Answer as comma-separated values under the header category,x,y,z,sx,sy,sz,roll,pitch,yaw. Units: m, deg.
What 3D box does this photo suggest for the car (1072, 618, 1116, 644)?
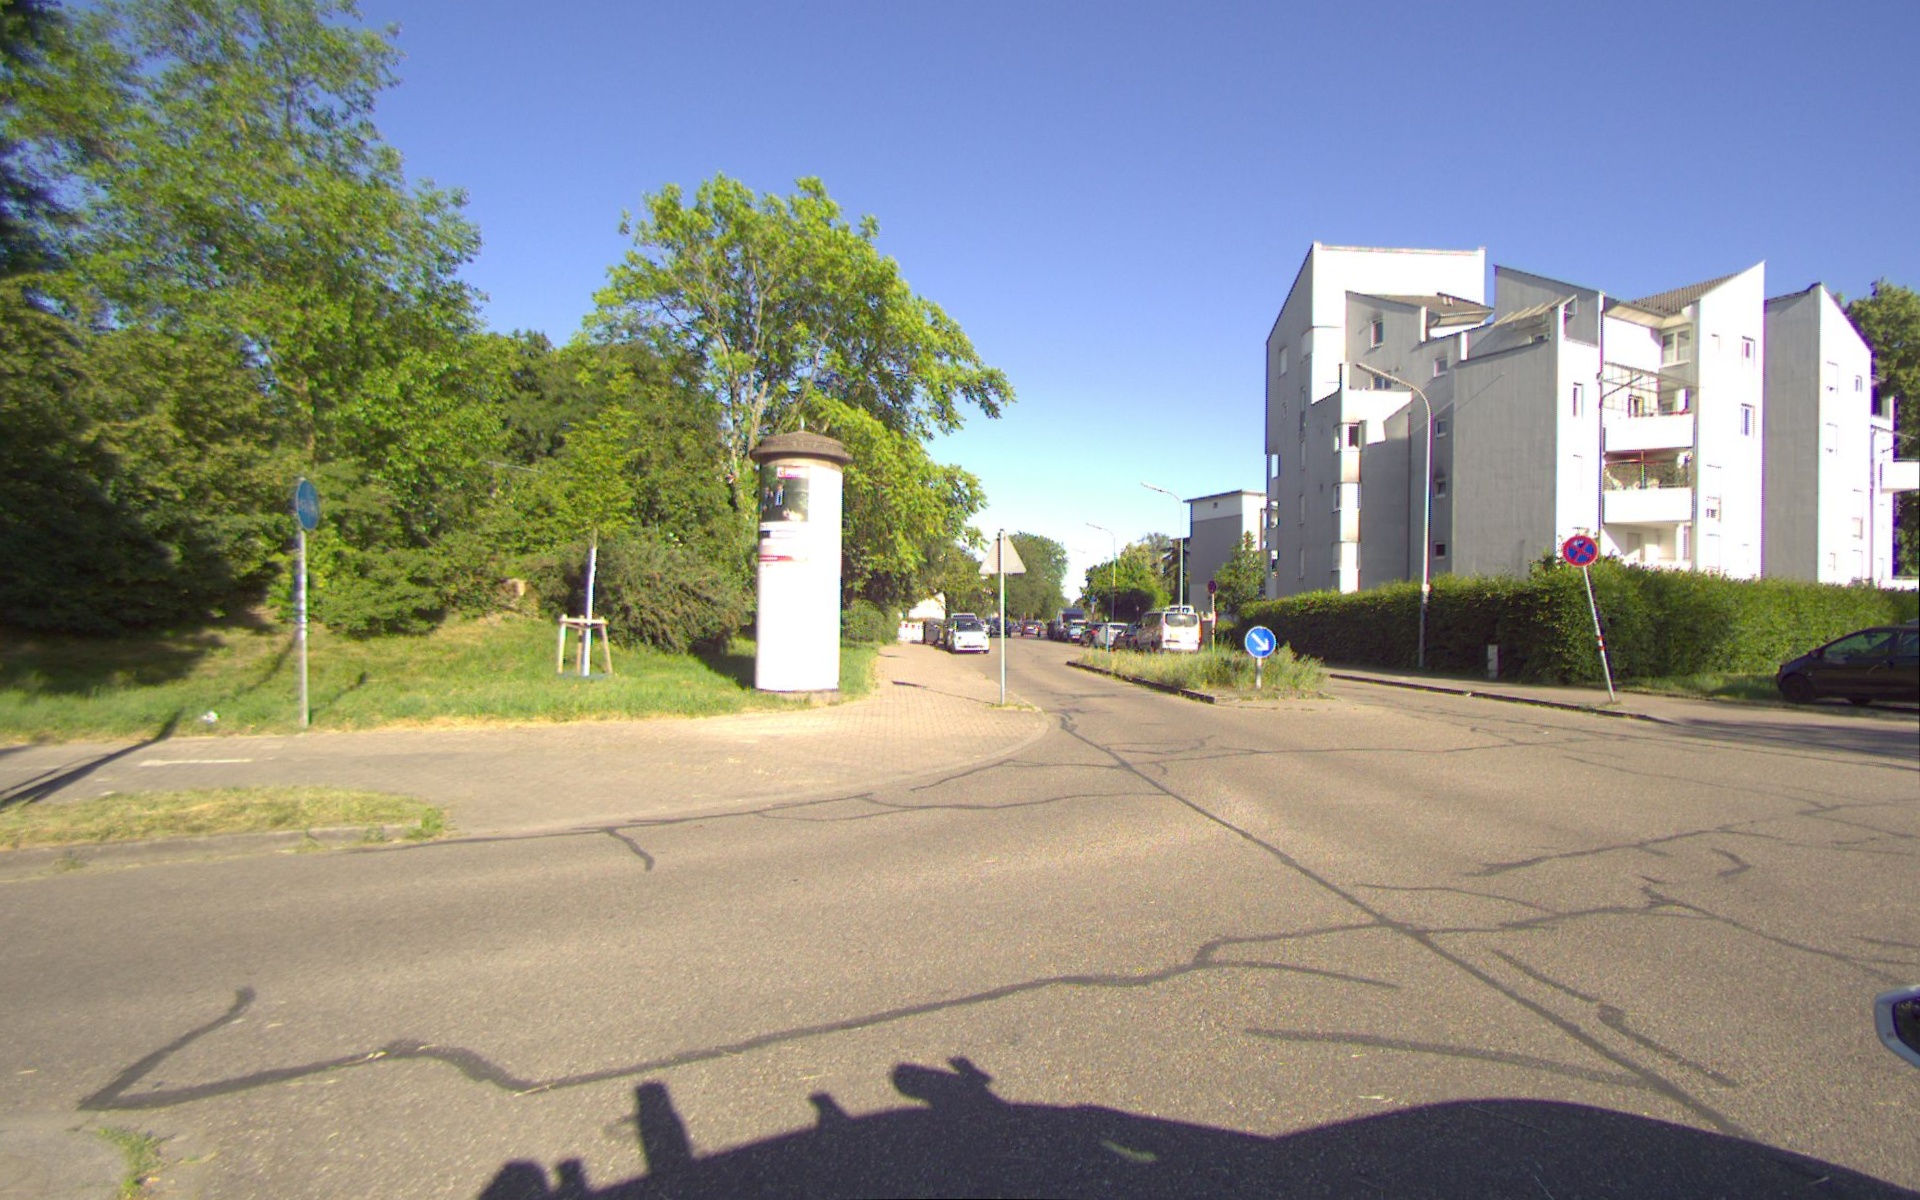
category,x,y,z,sx,sy,sz,roll,pitch,yaw
car,7.977,1.849,60.193,1.879,1.508,4.374,1,-1,-2

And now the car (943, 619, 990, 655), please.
category,x,y,z,sx,sy,sz,roll,pitch,yaw
car,0.257,1.654,45.669,1.601,1.548,3.415,1,-1,-8

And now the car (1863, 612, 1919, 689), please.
category,x,y,z,sx,sy,sz,roll,pitch,yaw
car,22.062,1.060,20.634,1.758,1.676,4.984,0,-2,-21

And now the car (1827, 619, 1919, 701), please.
category,x,y,z,sx,sy,sz,roll,pitch,yaw
car,18.690,1.108,18.633,1.623,1.516,3.682,0,-1,-14

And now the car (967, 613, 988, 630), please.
category,x,y,z,sx,sy,sz,roll,pitch,yaw
car,1.800,2.176,100.480,1.642,1.688,4.409,0,-1,6

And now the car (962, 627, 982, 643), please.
category,x,y,z,sx,sy,sz,roll,pitch,yaw
car,1.119,3.307,94.793,1.642,1.493,3.680,0,-1,4

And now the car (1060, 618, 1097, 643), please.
category,x,y,z,sx,sy,sz,roll,pitch,yaw
car,8.148,2.094,69.250,1.879,1.688,4.374,1,-1,-2

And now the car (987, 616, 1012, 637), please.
category,x,y,z,sx,sy,sz,roll,pitch,yaw
car,3.348,2.267,85.326,1.881,1.728,4.185,0,-1,-1

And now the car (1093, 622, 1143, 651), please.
category,x,y,z,sx,sy,sz,roll,pitch,yaw
car,8.506,1.950,54.493,1.879,1.508,4.374,1,-1,-2

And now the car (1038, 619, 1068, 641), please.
category,x,y,z,sx,sy,sz,roll,pitch,yaw
car,7.538,2.426,81.922,1.879,1.688,4.374,1,-1,-2

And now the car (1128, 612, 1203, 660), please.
category,x,y,z,sx,sy,sz,roll,pitch,yaw
car,8.909,1.535,43.951,1.962,1.937,4.951,1,-1,-4

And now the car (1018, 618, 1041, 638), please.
category,x,y,z,sx,sy,sz,roll,pitch,yaw
car,6.303,2.541,91.475,1.846,1.665,4.077,1,-1,1

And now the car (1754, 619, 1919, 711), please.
category,x,y,z,sx,sy,sz,roll,pitch,yaw
car,16.374,1.093,17.701,1.673,1.486,3.527,0,0,-10

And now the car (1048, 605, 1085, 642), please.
category,x,y,z,sx,sy,sz,roll,pitch,yaw
car,7.917,1.769,75.122,2.070,2.519,5.857,2,-1,1
